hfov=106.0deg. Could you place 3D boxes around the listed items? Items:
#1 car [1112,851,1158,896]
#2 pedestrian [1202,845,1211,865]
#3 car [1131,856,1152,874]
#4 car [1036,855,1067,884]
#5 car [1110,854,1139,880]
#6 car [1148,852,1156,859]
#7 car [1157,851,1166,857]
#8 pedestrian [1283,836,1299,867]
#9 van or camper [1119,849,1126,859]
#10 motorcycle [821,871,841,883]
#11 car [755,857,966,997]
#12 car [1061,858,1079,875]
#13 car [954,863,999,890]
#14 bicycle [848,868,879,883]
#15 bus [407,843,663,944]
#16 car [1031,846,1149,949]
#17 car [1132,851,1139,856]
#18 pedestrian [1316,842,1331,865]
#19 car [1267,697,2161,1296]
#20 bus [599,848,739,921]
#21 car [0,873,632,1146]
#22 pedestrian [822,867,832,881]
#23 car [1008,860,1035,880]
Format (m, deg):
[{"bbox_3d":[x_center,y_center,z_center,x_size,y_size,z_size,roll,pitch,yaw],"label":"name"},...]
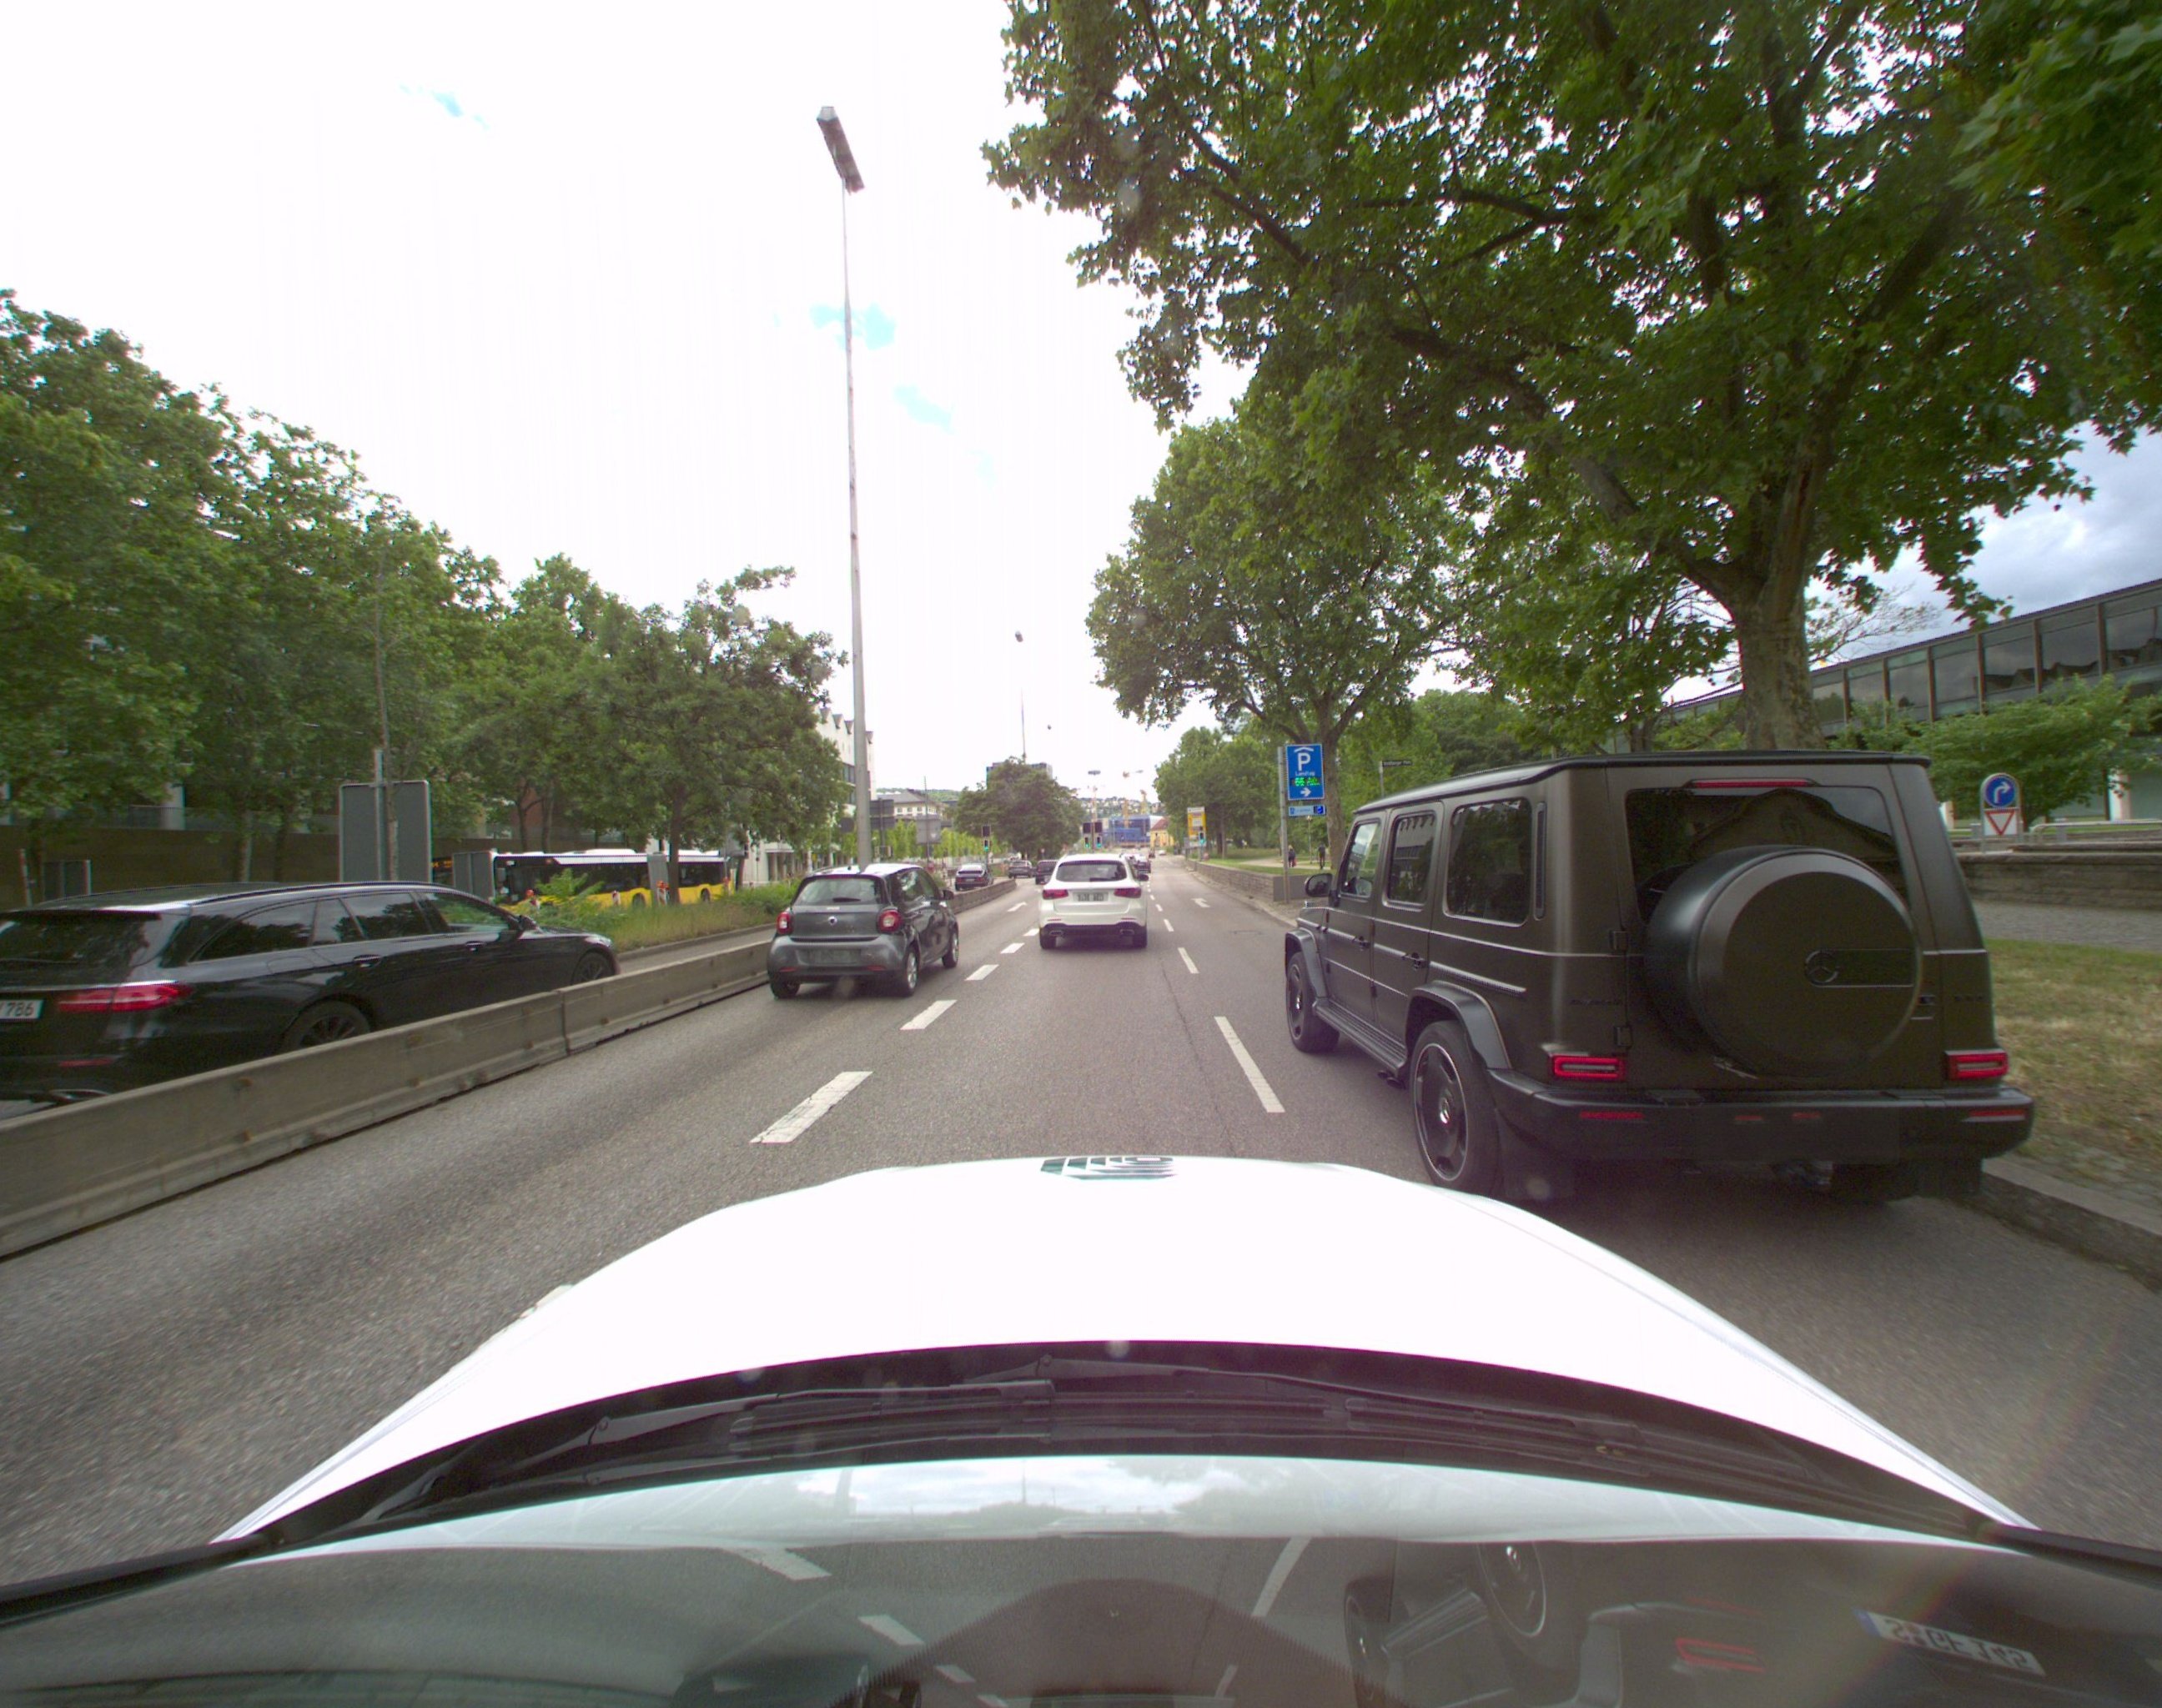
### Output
[{"bbox_3d":[2.079,0.743,31.569,1.665,1.628,4.003,0,-1,3],"label":"car"},{"bbox_3d":[10.414,0.106,67.570,0.695,1.656,0.684,0,-1,2],"label":"pedestrian"},{"bbox_3d":[5.429,0.995,73.648,1.713,1.585,4.001,0,0,1],"label":"car"},{"bbox_3d":[-1.792,0.931,50.251,1.713,1.678,4.001,0,0,1],"label":"car"},{"bbox_3d":[2.732,0.826,52.062,1.713,1.585,4.001,0,0,1],"label":"car"},{"bbox_3d":[16.865,0.382,193.274,1.713,1.585,4.001,0,0,1],"label":"car"},{"bbox_3d":[22.002,0.095,222.262,1.988,1.618,3.997,0,-1,-2],"label":"car"},{"bbox_3d":[14.017,-0.168,54.345,0.853,2.014,0.815,0,-2,1],"label":"pedestrian"},{"bbox_3d":[11.190,0.014,218.541,1.915,2.320,4.002,-1,-2,2],"label":"van or camper"},{"bbox_3d":[-27.157,2.499,88.455,1.891,1.234,0.654,-3,-3,-23],"label":"motorcycle"},{"bbox_3d":[-2.669,0.829,10.686,1.621,1.509,3.542,-1,-1,3],"label":"car"},{"bbox_3d":[-1.094,1.177,79.710,1.714,1.585,3.998,0,0,-1],"label":"car"},{"bbox_3d":[-5.364,1.115,42.055,1.713,1.292,4.001,0,0,1],"label":"car"},{"bbox_3d":[-27.710,2.767,103.751,3.600,1.684,1.183,-3,0,1],"label":"bicycle"},{"bbox_3d":[-21.295,1.385,32.978,2.901,3.305,10.454,-3,-1,2],"label":"bus"},{"bbox_3d":[0.226,0.744,15.338,1.933,1.684,4.002,0,-1,2],"label":"car"},{"bbox_3d":[16.149,-0.059,240.607,1.713,1.585,4.001,0,0,1],"label":"car"},{"bbox_3d":[16.241,-0.021,54.557,0.783,1.527,0.684,0,-1,3],"label":"pedestrian"},{"bbox_3d":[2.602,0.486,4.939,1.970,1.893,4.708,0,-1,1],"label":"car"},{"bbox_3d":[-20.944,1.437,42.048,2.911,3.303,7.711,-3,-1,2],"label":"bus"},{"bbox_3d":[-6.093,0.914,6.913,1.806,1.460,4.863,-1,-1,1],"label":"car"},{"bbox_3d":[-28.459,2.225,91.188,0.887,1.557,0.591,-2,-1,-40],"label":"pedestrian"},{"bbox_3d":[-4.872,1.274,67.191,1.746,1.553,4.001,0,0,2],"label":"car"}]
